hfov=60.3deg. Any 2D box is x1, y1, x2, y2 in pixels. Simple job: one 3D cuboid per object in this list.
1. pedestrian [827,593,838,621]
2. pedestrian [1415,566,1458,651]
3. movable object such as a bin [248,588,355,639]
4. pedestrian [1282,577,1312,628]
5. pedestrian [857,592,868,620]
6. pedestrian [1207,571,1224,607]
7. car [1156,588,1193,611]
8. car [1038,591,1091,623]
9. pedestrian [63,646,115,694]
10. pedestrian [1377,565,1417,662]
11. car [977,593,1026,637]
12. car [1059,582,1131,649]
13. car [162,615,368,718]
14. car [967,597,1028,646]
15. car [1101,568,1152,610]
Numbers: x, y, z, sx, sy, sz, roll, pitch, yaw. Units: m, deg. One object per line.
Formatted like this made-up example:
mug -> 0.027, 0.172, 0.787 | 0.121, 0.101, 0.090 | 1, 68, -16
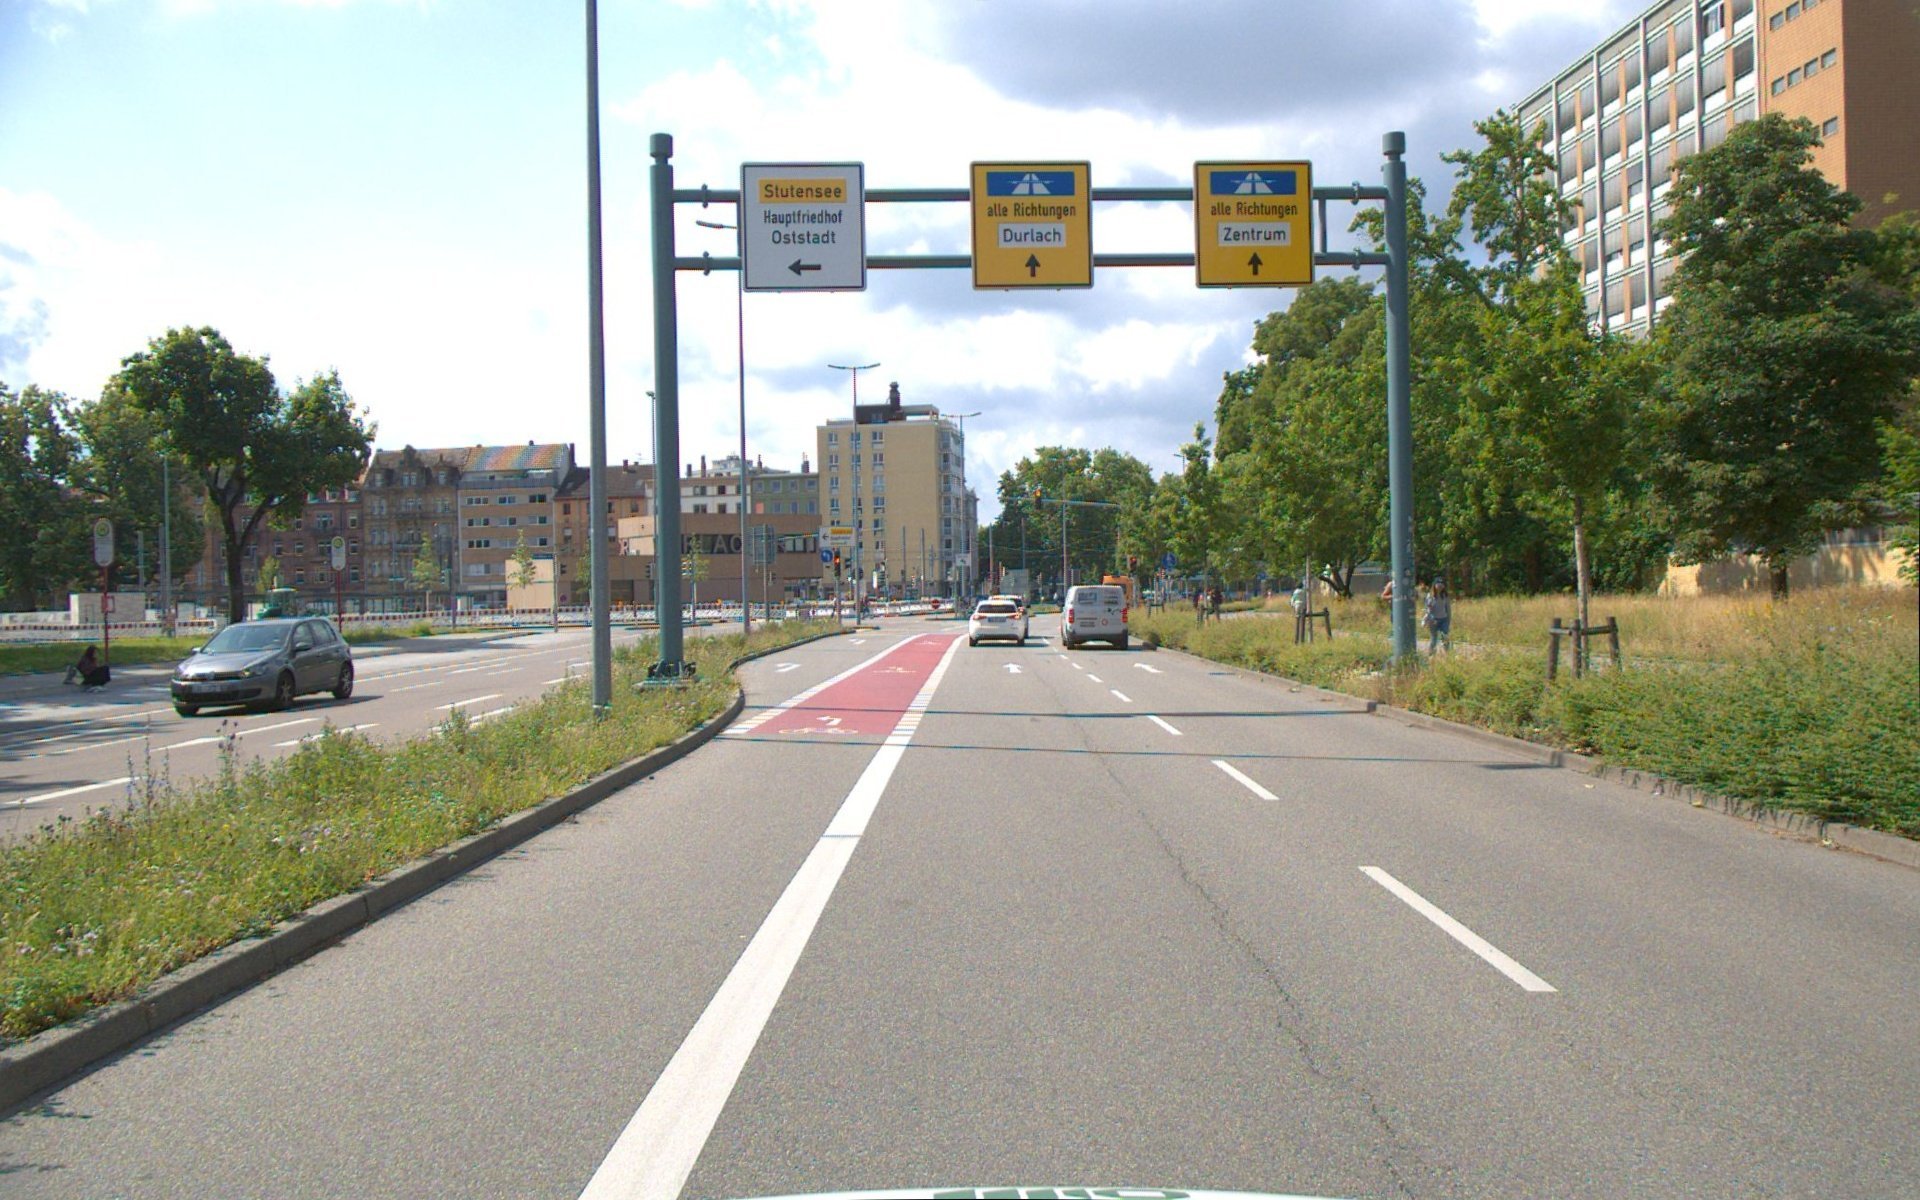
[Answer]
pedestrian -> -8.147, 0.452, 105.461 | 0.513, 1.764, 0.624 | -1, 0, 10
pedestrian -> 9.154, 0.153, 31.794 | 0.610, 1.608, 0.708 | -1, 0, 0
movable object such as a bin -> -39.211, 0.787, 98.554 | 2.249, 2.935, 5.505 | -2, 0, 44
pedestrian -> 11.181, 0.074, 54.888 | 0.850, 1.667, 0.721 | -1, 0, 2
pedestrian -> -6.140, 0.375, 104.042 | 0.513, 1.764, 0.624 | -1, 0, 10
pedestrian -> 12.633, -0.548, 81.708 | 0.727, 1.766, 0.679 | -1, 0, 4
car -> 18.298, -0.094, 140.891 | 1.954, 1.858, 3.997 | -2, 0, 26
car -> 6.416, 0.450, 101.384 | 1.953, 1.847, 3.998 | 2, 0, 23
pedestrian -> -18.311, 1.463, 34.782 | 0.680, 0.980, 0.743 | -1, 0, -1
pedestrian -> 8.338, 0.254, 31.566 | 0.555, 1.833, 0.639 | -1, 0, 0
car -> 1.559, 0.542, 61.791 | 1.754, 1.566, 4.012 | 0, 0, 1
car -> 4.112, 0.438, 50.960 | 1.902, 1.902, 4.826 | -1, 0, 2
car -> -11.567, 1.047, 27.824 | 1.666, 1.470, 4.145 | -2, 0, 0
car -> 1.233, 0.668, 53.722 | 1.864, 1.448, 4.386 | -1, 0, 2
car -> 11.689, -0.757, 115.931 | 2.087, 2.829, 4.636 | -2, 0, 25
